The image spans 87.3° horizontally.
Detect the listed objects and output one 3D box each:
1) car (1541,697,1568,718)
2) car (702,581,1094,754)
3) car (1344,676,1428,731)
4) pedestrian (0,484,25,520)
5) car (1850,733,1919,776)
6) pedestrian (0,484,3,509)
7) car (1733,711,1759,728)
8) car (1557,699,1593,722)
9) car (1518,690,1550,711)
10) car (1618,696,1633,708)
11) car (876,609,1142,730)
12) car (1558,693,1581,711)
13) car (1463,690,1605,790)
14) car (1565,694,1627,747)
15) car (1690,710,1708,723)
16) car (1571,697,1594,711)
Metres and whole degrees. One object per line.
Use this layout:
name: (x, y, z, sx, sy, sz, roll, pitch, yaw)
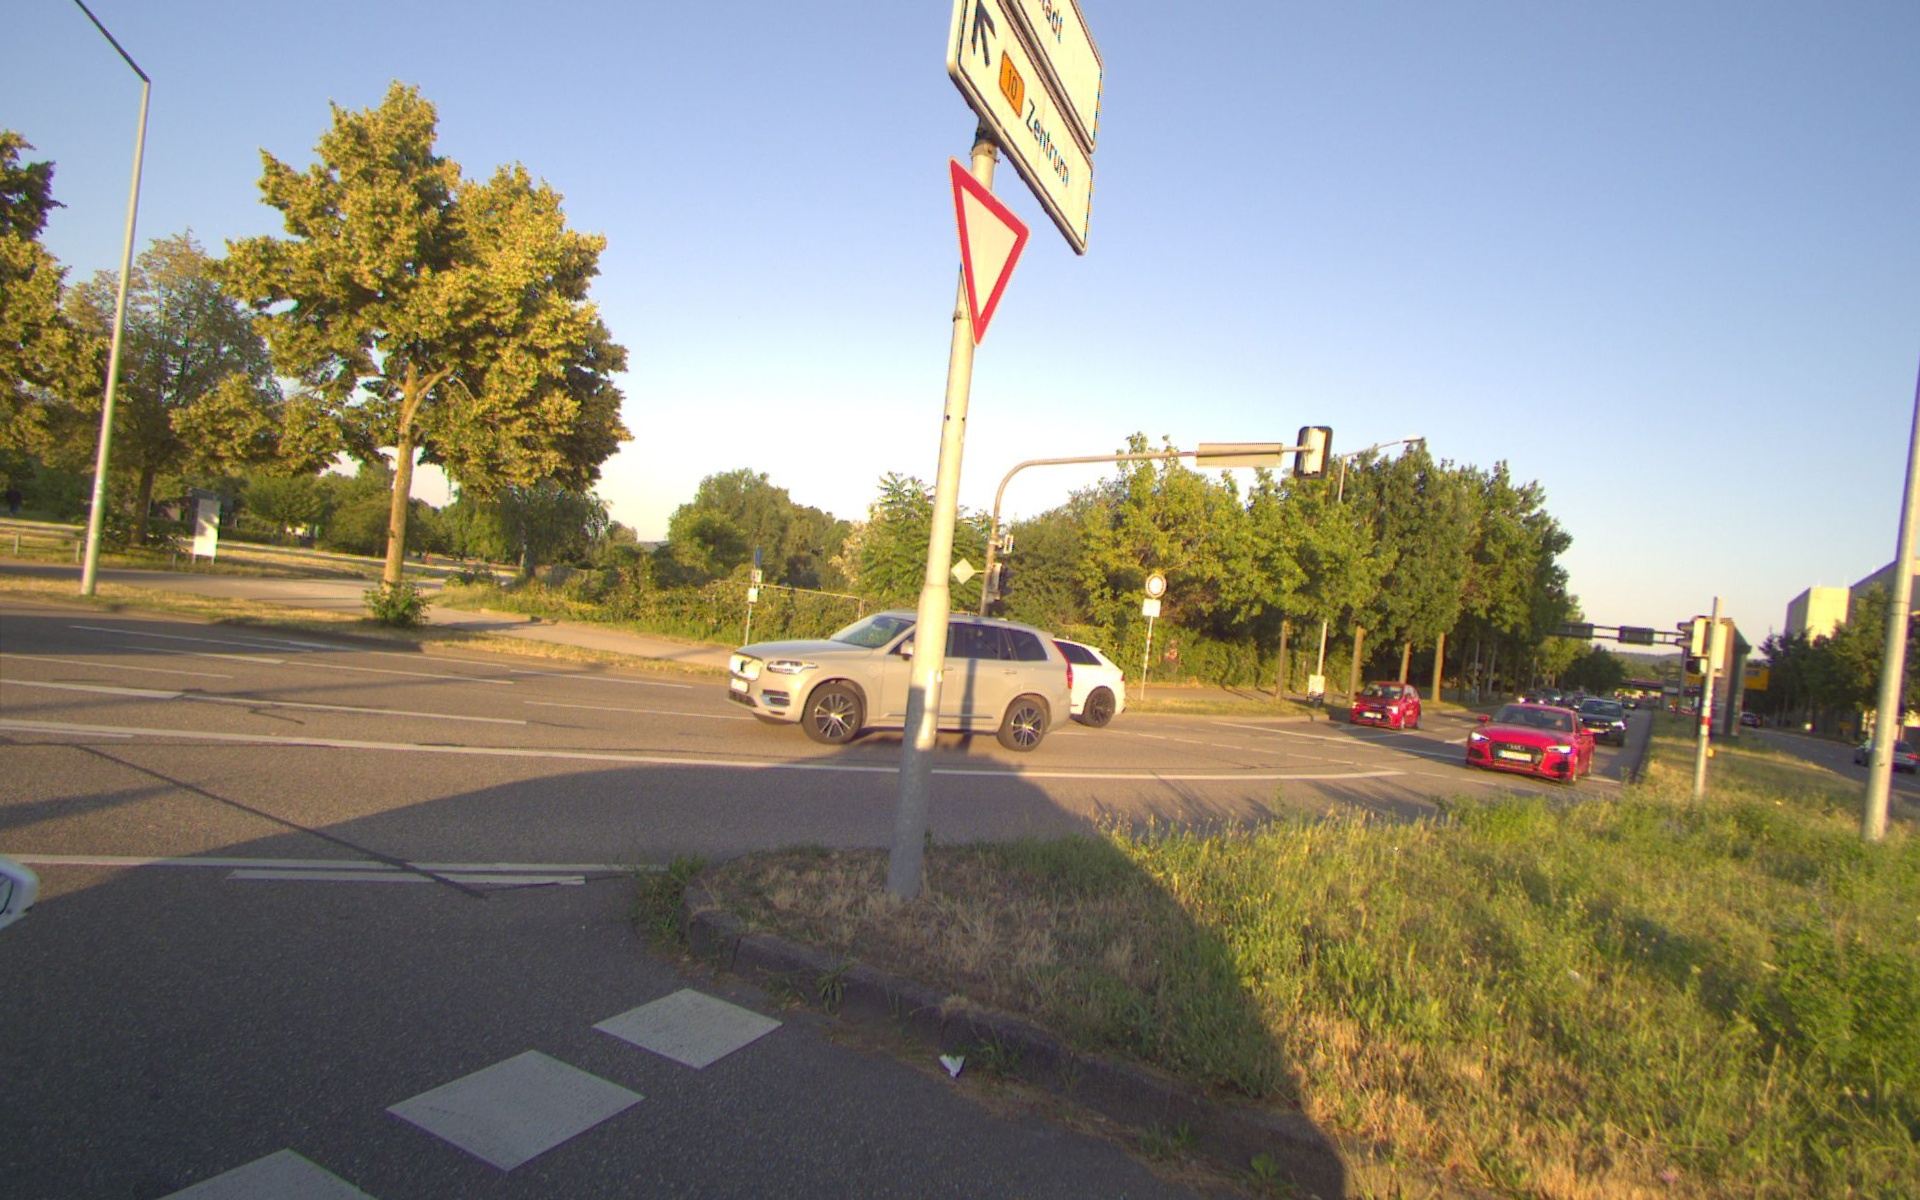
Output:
car: (50.707, 9.179, 85.846, 1.594, 1.536, 3.707, 5, -2, 35)
car: (-0.714, 0.961, 13.544, 4.877, 1.775, 1.905, 8, -2, -35)
car: (14.026, 3.413, 33.020, 1.700, 1.500, 3.623, 5, -2, 36)
pedestrian: (-45.602, -4.716, 48.407, 0.522, 1.646, 0.618, 7, 0, -14)
car: (43.170, 7.163, 46.932, 1.774, 1.440, 4.437, 7, 0, 34)
pedestrian: (-46.092, -4.768, 47.795, 0.524, 1.646, 0.580, 7, 0, -10)
car: (80.512, 12.256, 103.029, 1.727, 1.441, 4.114, 7, 0, 42)
car: (43.223, 7.731, 70.654, 1.847, 1.324, 4.128, 5, -2, 35)
car: (41.964, 7.361, 73.498, 1.594, 1.324, 3.707, 5, -2, 35)
car: (92.416, 14.133, 139.670, 1.594, 1.471, 3.707, 5, -2, 35)
car: (1.037, 1.375, 19.281, 4.903, 1.730, 1.893, 9, -1, -38)
car: (59.818, 10.054, 98.742, 1.594, 1.536, 3.707, 5, -2, 35)
car: (11.485, 2.715, 19.973, 1.817, 1.477, 4.568, 7, -1, 36)
car: (23.755, 4.469, 37.497, 1.695, 1.631, 4.127, 5, -2, 34)
car: (106.590, 16.790, 145.046, 1.790, 1.543, 4.123, 7, 0, 35)
car: (69.934, 11.722, 112.991, 1.847, 1.324, 4.128, 5, -2, 35)
